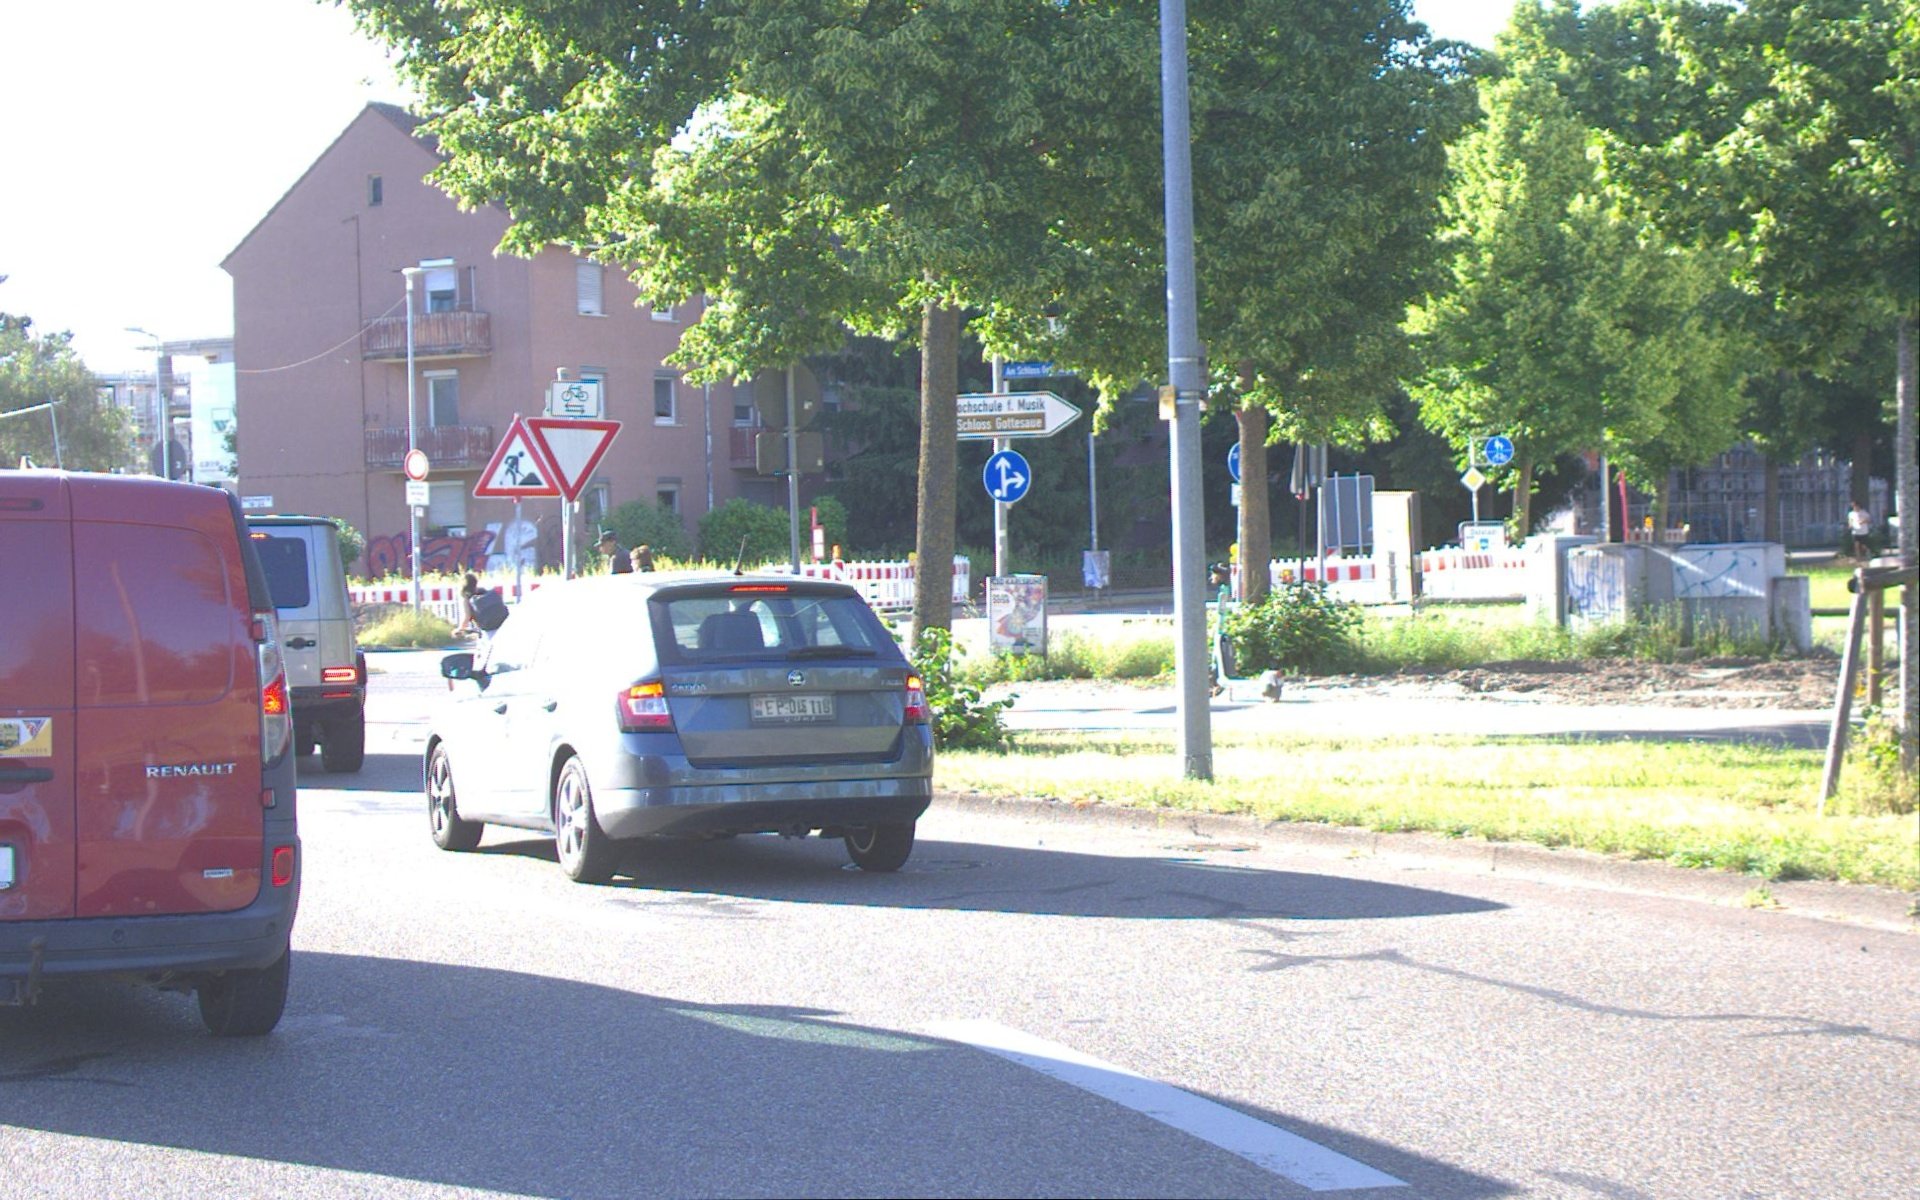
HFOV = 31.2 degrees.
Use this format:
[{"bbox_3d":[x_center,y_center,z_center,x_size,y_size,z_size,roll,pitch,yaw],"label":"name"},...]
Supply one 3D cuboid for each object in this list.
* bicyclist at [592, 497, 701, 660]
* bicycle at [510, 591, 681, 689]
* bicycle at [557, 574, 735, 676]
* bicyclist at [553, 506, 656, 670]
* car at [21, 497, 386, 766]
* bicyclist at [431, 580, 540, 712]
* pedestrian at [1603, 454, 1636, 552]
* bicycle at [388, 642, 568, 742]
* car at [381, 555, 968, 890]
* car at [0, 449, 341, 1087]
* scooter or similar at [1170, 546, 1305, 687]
[{"bbox_3d":[-3.230,-0.220,35.391,0.898,1.659,0.659,0,0,34],"label":"bicyclist"},{"bbox_3d":[-3.920,0.426,36.942,1.821,1.024,0.659,0,0,34],"label":"bicycle"},{"bbox_3d":[-3.245,0.251,35.432,1.821,1.024,0.659,0,0,34],"label":"bicycle"},{"bbox_3d":[-3.812,-0.125,36.840,0.811,1.724,0.653,-2,0,33],"label":"bicyclist"},{"bbox_3d":[-6.067,0.206,27.133,1.996,1.890,4.754,-2,1,-22],"label":"car"},{"bbox_3d":[-5.005,0.479,36.273,0.933,1.380,0.659,0,0,25],"label":"bicyclist"},{"bbox_3d":[13.622,-2.005,70.984,0.471,2.007,0.454,-1,2,37],"label":"pedestrian"},{"bbox_3d":[-5.097,0.972,36.338,1.820,1.024,0.659,-1,-1,26],"label":"bicycle"},{"bbox_3d":[-1.566,0.524,17.231,1.713,1.431,4.153,-1,1,-23],"label":"car"},{"bbox_3d":[-3.441,0.449,11.526,1.802,1.807,3.810,-1,1,-24],"label":"car"},{"bbox_3d":[2.493,0.156,30.993,0.443,1.243,1.264,0,-1,-40],"label":"scooter or similar"}]
